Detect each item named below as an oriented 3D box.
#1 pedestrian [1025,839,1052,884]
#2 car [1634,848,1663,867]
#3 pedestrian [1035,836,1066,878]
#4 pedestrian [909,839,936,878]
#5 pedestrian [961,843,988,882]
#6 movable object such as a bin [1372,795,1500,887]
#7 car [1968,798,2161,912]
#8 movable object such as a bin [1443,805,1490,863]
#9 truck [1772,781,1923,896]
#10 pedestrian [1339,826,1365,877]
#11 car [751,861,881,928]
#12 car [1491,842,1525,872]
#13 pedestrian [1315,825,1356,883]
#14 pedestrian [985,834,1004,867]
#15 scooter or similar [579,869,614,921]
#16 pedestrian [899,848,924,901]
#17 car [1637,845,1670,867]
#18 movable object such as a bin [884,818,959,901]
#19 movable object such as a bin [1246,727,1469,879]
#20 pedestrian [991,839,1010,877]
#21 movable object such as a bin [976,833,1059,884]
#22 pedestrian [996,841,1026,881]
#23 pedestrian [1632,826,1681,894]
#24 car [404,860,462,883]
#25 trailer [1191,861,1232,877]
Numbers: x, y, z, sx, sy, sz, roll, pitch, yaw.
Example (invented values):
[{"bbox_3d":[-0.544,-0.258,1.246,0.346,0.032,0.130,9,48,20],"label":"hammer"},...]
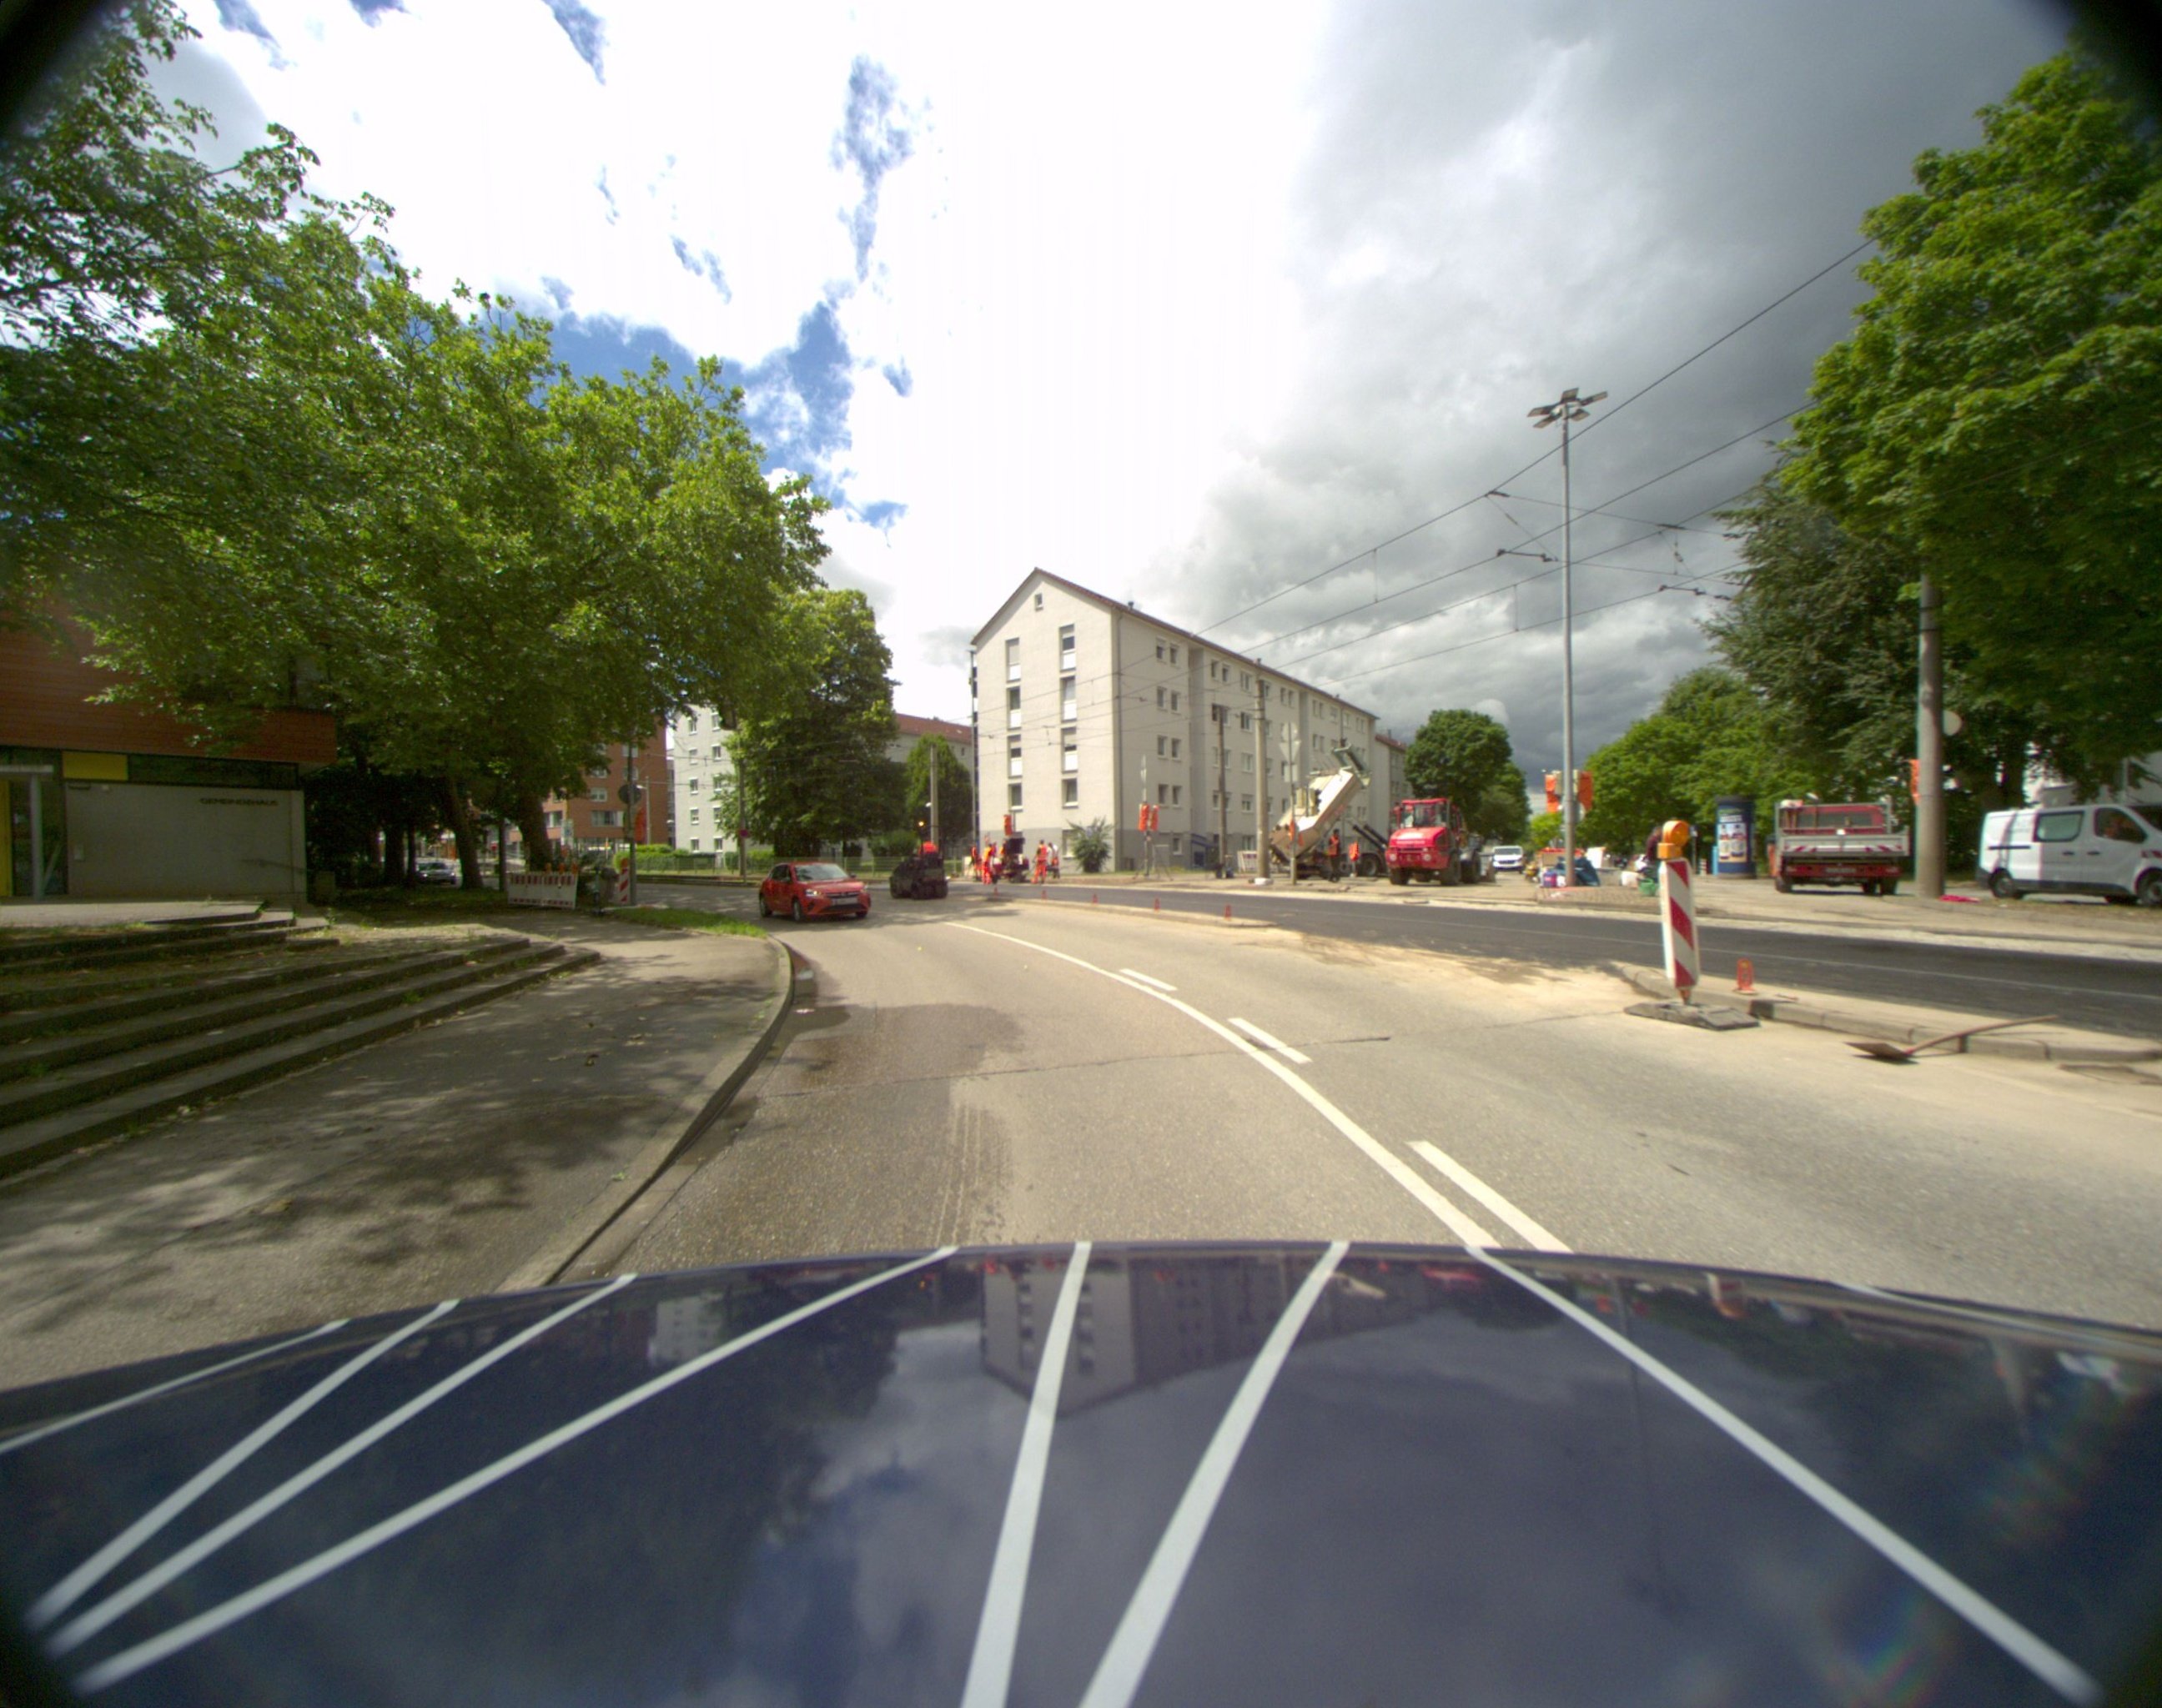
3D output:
[{"bbox_3d":[-1.748,0.299,31.222,0.766,1.828,0.785,0,1,35],"label":"pedestrian"},{"bbox_3d":[44.781,0.269,60.016,1.673,1.496,4.008,0,0,35],"label":"car"},{"bbox_3d":[-1.370,0.136,34.078,0.871,1.813,1.098,0,1,37],"label":"pedestrian"},{"bbox_3d":[-5.002,0.150,23.978,0.552,1.209,0.616,-2,1,-42],"label":"pedestrian"},{"bbox_3d":[-4.786,0.369,34.144,0.916,1.706,0.755,-1,1,42],"label":"pedestrian"},{"bbox_3d":[11.573,-0.444,24.529,2.110,2.653,5.598,0,2,43],"label":"movable object such as a bin"},{"bbox_3d":[19.390,-0.011,13.863,1.995,1.876,5.259,-1,0,22],"label":"car"},{"bbox_3d":[31.707,-1.551,62.333,2.818,4.509,6.222,0,0,32],"label":"movable object such as a bin"},{"bbox_3d":[19.581,-0.319,19.685,2.412,2.553,5.595,0,0,42],"label":"truck"},{"bbox_3d":[9.580,-0.078,26.864,0.611,1.778,0.583,-2,0,40],"label":"pedestrian"},{"bbox_3d":[-6.772,0.948,19.194,1.774,1.425,3.828,-4,1,-40],"label":"car"},{"bbox_3d":[30.112,0.199,53.508,1.995,2.002,5.920,0,0,30],"label":"car"},{"bbox_3d":[8.296,-0.012,24.781,0.798,1.822,0.969,-3,3,-44],"label":"pedestrian"},{"bbox_3d":[-4.443,-0.174,38.983,0.881,1.674,0.666,-2,2,-10],"label":"pedestrian"},{"bbox_3d":[-11.865,0.986,18.603,0.567,1.225,1.191,-1,1,-39],"label":"scooter or similar"},{"bbox_3d":[-5.512,0.657,24.652,0.557,1.672,0.471,0,3,40],"label":"pedestrian"},{"bbox_3d":[42.201,0.135,56.058,1.759,1.600,4.008,0,0,35],"label":"car"},{"bbox_3d":[-5.230,0.171,24.823,1.323,2.579,2.356,-3,2,-42],"label":"movable object such as a bin"},{"bbox_3d":[11.191,-1.864,30.467,9.047,5.453,2.815,-1,0,-25],"label":"movable object such as a bin"},{"bbox_3d":[-4.079,0.194,38.310,0.880,1.897,0.666,-2,2,-7],"label":"pedestrian"},{"bbox_3d":[-2.660,0.193,31.750,2.004,2.002,2.959,-1,0,-44],"label":"movable object such as a bin"},{"bbox_3d":[-3.096,0.300,33.682,0.861,1.706,0.916,-3,1,-42],"label":"pedestrian"},{"bbox_3d":[14.469,0.150,19.105,0.872,1.650,0.931,-1,0,42],"label":"pedestrian"},{"bbox_3d":[-38.463,1.015,45.106,3.371,1.311,1.538,-1,1,30],"label":"car"},{"bbox_3d":[5.276,0.601,30.834,0.798,0.612,1.594,0,0,-29],"label":"trailer"}]
